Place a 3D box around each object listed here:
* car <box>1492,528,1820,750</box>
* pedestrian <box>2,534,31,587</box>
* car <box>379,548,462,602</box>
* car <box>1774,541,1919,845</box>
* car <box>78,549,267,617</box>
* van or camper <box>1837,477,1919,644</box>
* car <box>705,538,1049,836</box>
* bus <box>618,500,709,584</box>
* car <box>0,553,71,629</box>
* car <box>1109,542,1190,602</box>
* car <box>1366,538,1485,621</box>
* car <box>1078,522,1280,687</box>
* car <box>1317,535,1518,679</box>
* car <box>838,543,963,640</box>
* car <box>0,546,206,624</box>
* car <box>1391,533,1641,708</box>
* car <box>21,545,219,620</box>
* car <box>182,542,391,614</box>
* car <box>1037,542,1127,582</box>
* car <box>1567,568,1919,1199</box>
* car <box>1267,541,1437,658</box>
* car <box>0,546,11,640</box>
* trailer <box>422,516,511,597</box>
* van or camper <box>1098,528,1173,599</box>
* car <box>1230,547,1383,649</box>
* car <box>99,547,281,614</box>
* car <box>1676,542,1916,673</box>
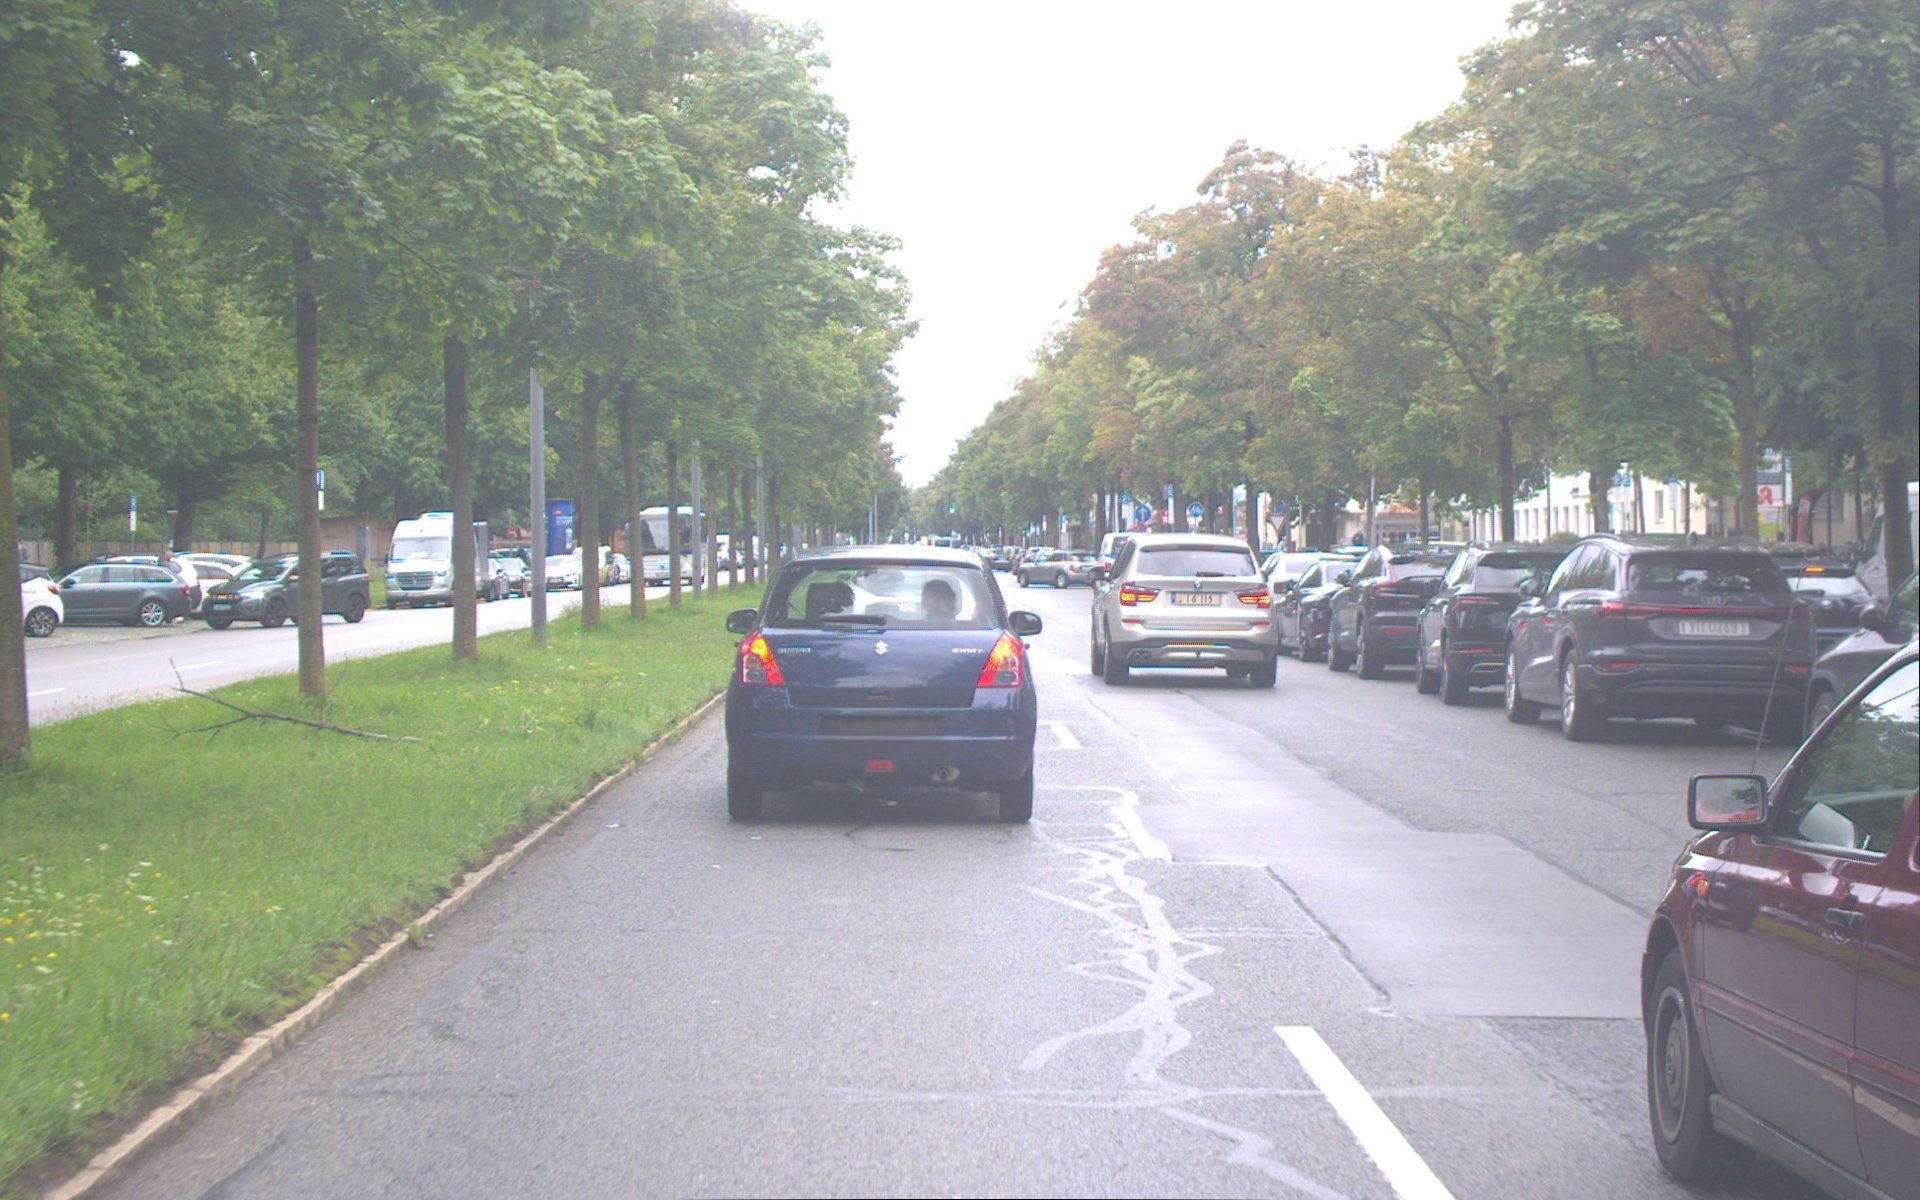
[{"bbox_3d":[5.693,0.256,28.689,1.761,1.695,4.820,0,1,0],"label":"car"},{"bbox_3d":[-28.904,-1.208,105.272,0.678,1.606,0.692,-1,1,-31],"label":"pedestrian"},{"bbox_3d":[-15.972,-0.751,101.947,1.913,1.537,4.188,-1,1,-2],"label":"car"},{"bbox_3d":[5.877,0.476,18.610,1.761,1.584,4.453,0,1,-2],"label":"car"},{"bbox_3d":[-19.339,-0.432,84.454,4.095,1.579,1.919,-1,1,-34],"label":"car"},{"bbox_3d":[15.629,-0.640,54.274,2.024,2.549,5.957,-1,1,0],"label":"van or camper"},{"bbox_3d":[-0.509,0.420,19.976,1.789,1.550,4.001,0,1,-2],"label":"car"},{"bbox_3d":[-12.634,-2.508,147.568,2.738,3.366,12.013,-2,1,0],"label":"bus"},{"bbox_3d":[-19.984,-0.172,68.354,4.094,1.496,1.919,-1,1,-31],"label":"car"},{"bbox_3d":[5.005,-0.761,91.379,1.684,1.548,4.307,0,1,-3],"label":"car"},{"bbox_3d":[9.374,-0.442,69.545,1.684,1.627,4.780,0,1,-1],"label":"car"},{"bbox_3d":[2.393,0.015,38.501,1.850,1.737,4.098,0,1,-2],"label":"car"},{"bbox_3d":[5.448,0.038,41.443,1.764,1.646,4.424,0,1,-1],"label":"car"},{"bbox_3d":[-0.956,-0.157,53.414,1.850,1.442,4.098,0,1,-2],"label":"car"},{"bbox_3d":[-19.296,-0.356,77.419,4.095,1.689,1.919,-1,1,-34],"label":"car"},{"bbox_3d":[5.546,0.159,34.760,1.722,1.646,4.389,0,1,-1],"label":"car"},{"bbox_3d":[-19.731,-0.421,80.817,4.095,1.689,1.919,-1,1,-34],"label":"car"},{"bbox_3d":[-15.124,-0.513,77.299,4.175,1.537,1.919,-1,1,-40],"label":"car"},{"bbox_3d":[4.524,-1.423,127.977,1.850,1.442,4.099,-1,1,-22],"label":"car"},{"bbox_3d":[2.411,0.676,6.867,1.622,1.449,3.950,0,1,-1],"label":"car"},{"bbox_3d":[5.330,-0.044,47.204,1.764,1.541,4.424,0,1,-1],"label":"car"},{"bbox_3d":[-19.271,-0.105,61.331,4.095,1.674,1.919,-1,1,-34],"label":"car"},{"bbox_3d":[-15.977,-1.434,111.549,2.106,2.531,5.577,-1,1,0],"label":"trailer"},{"bbox_3d":[4.995,-1.066,98.149,1.944,1.968,4.306,0,1,0],"label":"van or camper"},{"bbox_3d":[5.293,-0.062,53.001,1.706,1.449,4.512,2,1,-2],"label":"car"},{"bbox_3d":[-19.591,-0.514,87.477,4.095,1.647,1.919,-1,1,-34],"label":"car"},{"bbox_3d":[9.852,0.051,40.805,1.747,1.474,4.009,0,1,-2],"label":"car"}]
